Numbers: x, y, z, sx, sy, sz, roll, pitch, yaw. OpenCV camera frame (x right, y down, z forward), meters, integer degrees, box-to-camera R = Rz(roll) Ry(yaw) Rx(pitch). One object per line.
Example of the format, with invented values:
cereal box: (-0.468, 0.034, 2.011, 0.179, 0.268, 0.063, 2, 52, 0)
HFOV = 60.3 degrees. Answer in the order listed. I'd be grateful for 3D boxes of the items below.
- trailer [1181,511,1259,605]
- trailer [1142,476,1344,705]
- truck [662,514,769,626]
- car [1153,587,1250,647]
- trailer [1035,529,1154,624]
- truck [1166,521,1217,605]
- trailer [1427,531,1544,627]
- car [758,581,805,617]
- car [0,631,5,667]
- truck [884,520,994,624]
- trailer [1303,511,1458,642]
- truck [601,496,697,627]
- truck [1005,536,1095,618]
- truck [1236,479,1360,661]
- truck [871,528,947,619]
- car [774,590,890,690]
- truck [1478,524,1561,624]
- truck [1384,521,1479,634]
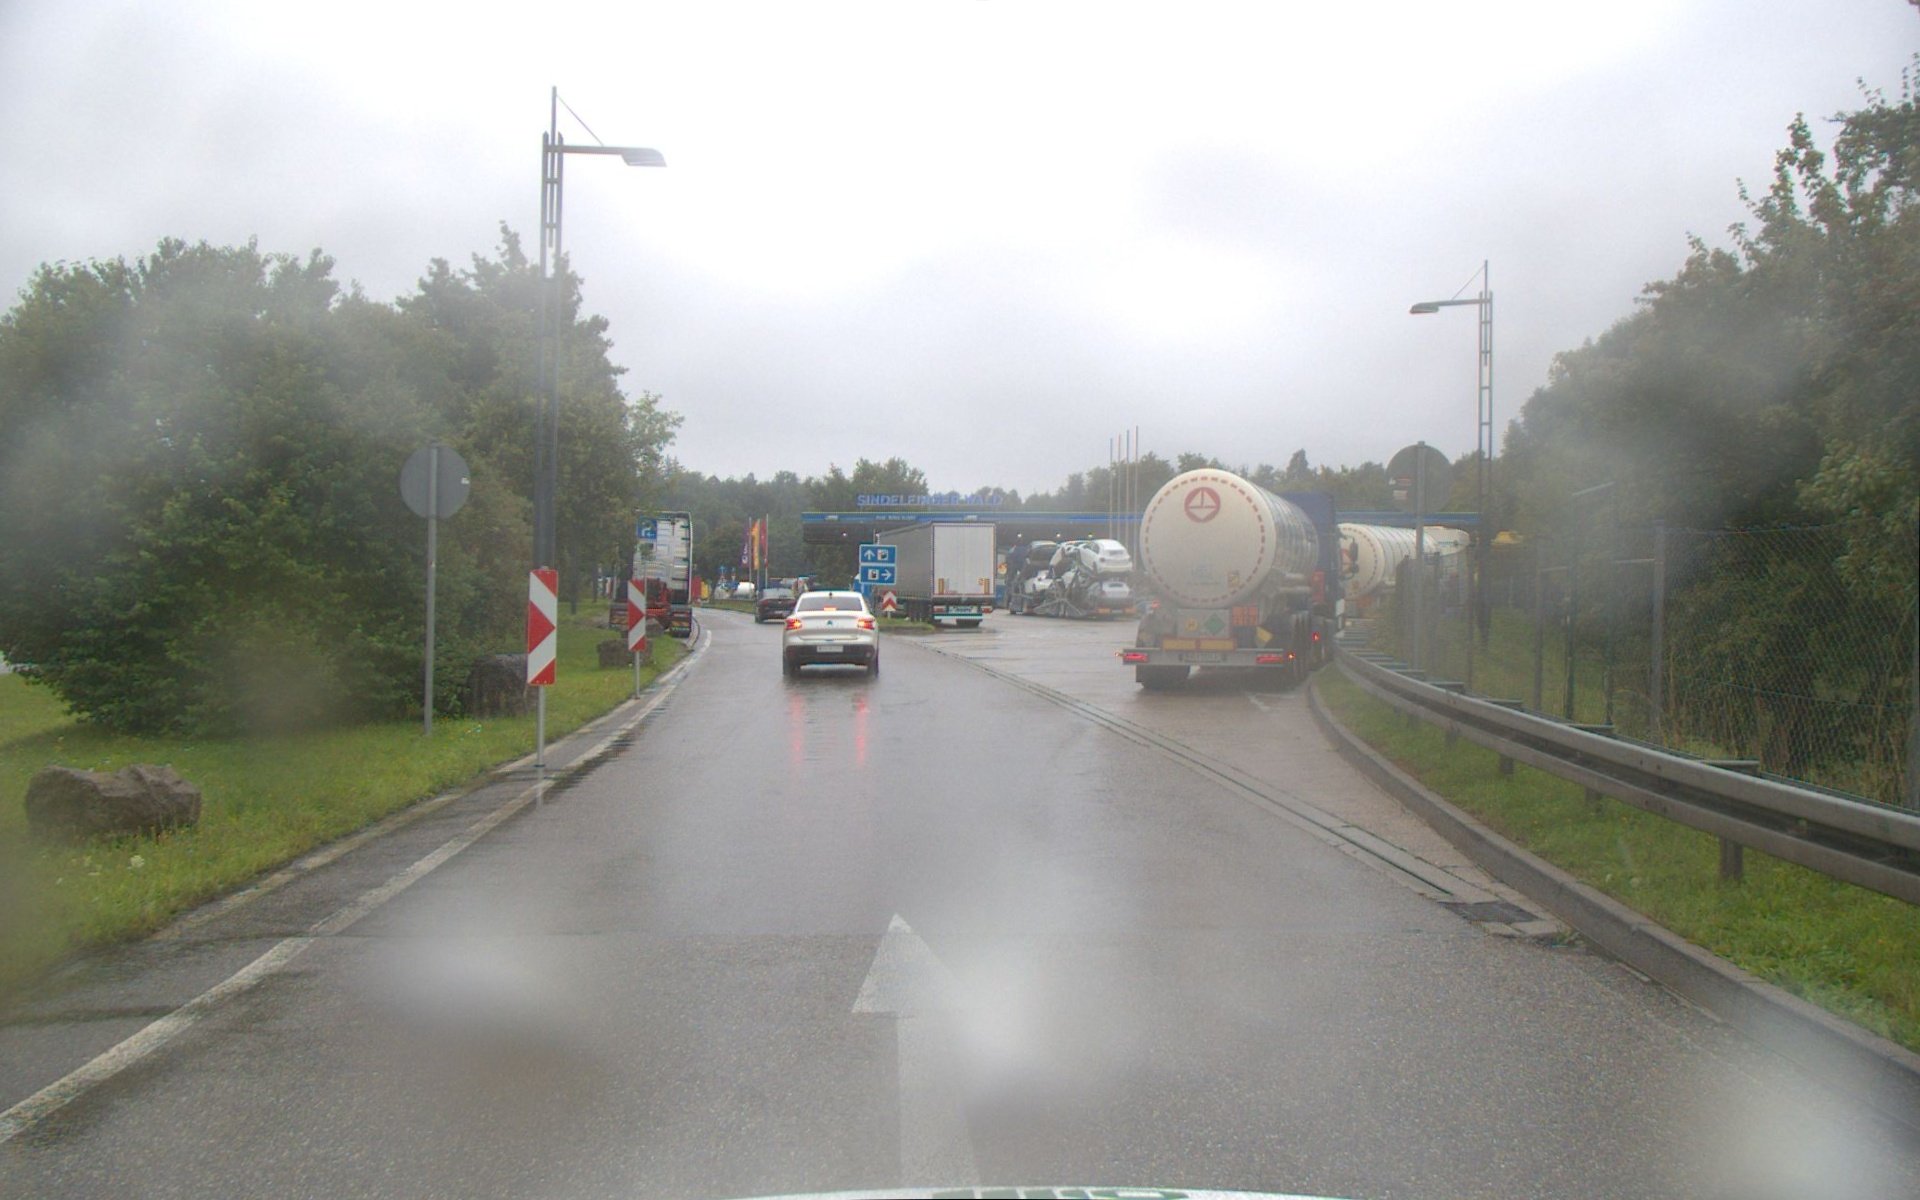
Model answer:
trailer: (13.553, -2.066, 86.859, 1.954, 4.639, 9.802, 1, 0, -3)
trailer: (5.216, -0.157, 28.875, 1.939, 3.281, 10.325, 1, 0, 18)
truck: (-12.834, -1.461, 85.773, 4.708, 5.398, 11.033, 0, 0, -13)
car: (7.622, 0.553, 51.870, 1.709, 1.696, 3.993, 1, -2, 28)
trailer: (6.433, -1.151, 81.376, 3.156, 4.262, 11.505, 1, 1, -9)
truck: (13.129, -2.064, 94.144, 1.948, 4.629, 4.792, 1, 0, -3)
trailer: (20.156, -0.781, 63.203, 2.145, 3.451, 7.537, 0, 1, 35)
car: (-7.611, -0.047, 70.926, 1.842, 1.487, 3.996, 1, 0, -4)
car: (-41.631, 2.086, 68.893, 1.755, 1.553, 4.325, 0, -1, -9)
truck: (-1.058, -1.132, 68.837, 2.328, 3.941, 12.420, 0, 1, -11)
trailer: (12.722, -0.677, 49.277, 2.090, 3.500, 10.238, 1, 1, 28)
truck: (-10.098, -1.190, 53.669, 2.863, 3.972, 6.300, 0, 0, -11)
truck: (4.862, -1.287, 91.219, 3.174, 4.261, 8.426, 1, 1, -9)
truck: (7.267, -0.614, 35.199, 2.010, 3.593, 4.748, 1, 0, 18)
truck: (-2.389, -1.207, 75.555, 2.328, 3.941, 6.992, 0, 1, -11)
car: (-2.326, 0.739, 30.954, 1.953, 1.709, 3.998, 1, -1, -2)
truck: (22.605, -1.054, 66.743, 2.144, 3.895, 4.127, 0, 0, 35)
truck: (15.679, -0.747, 54.860, 2.105, 3.574, 4.640, 0, 0, 28)
